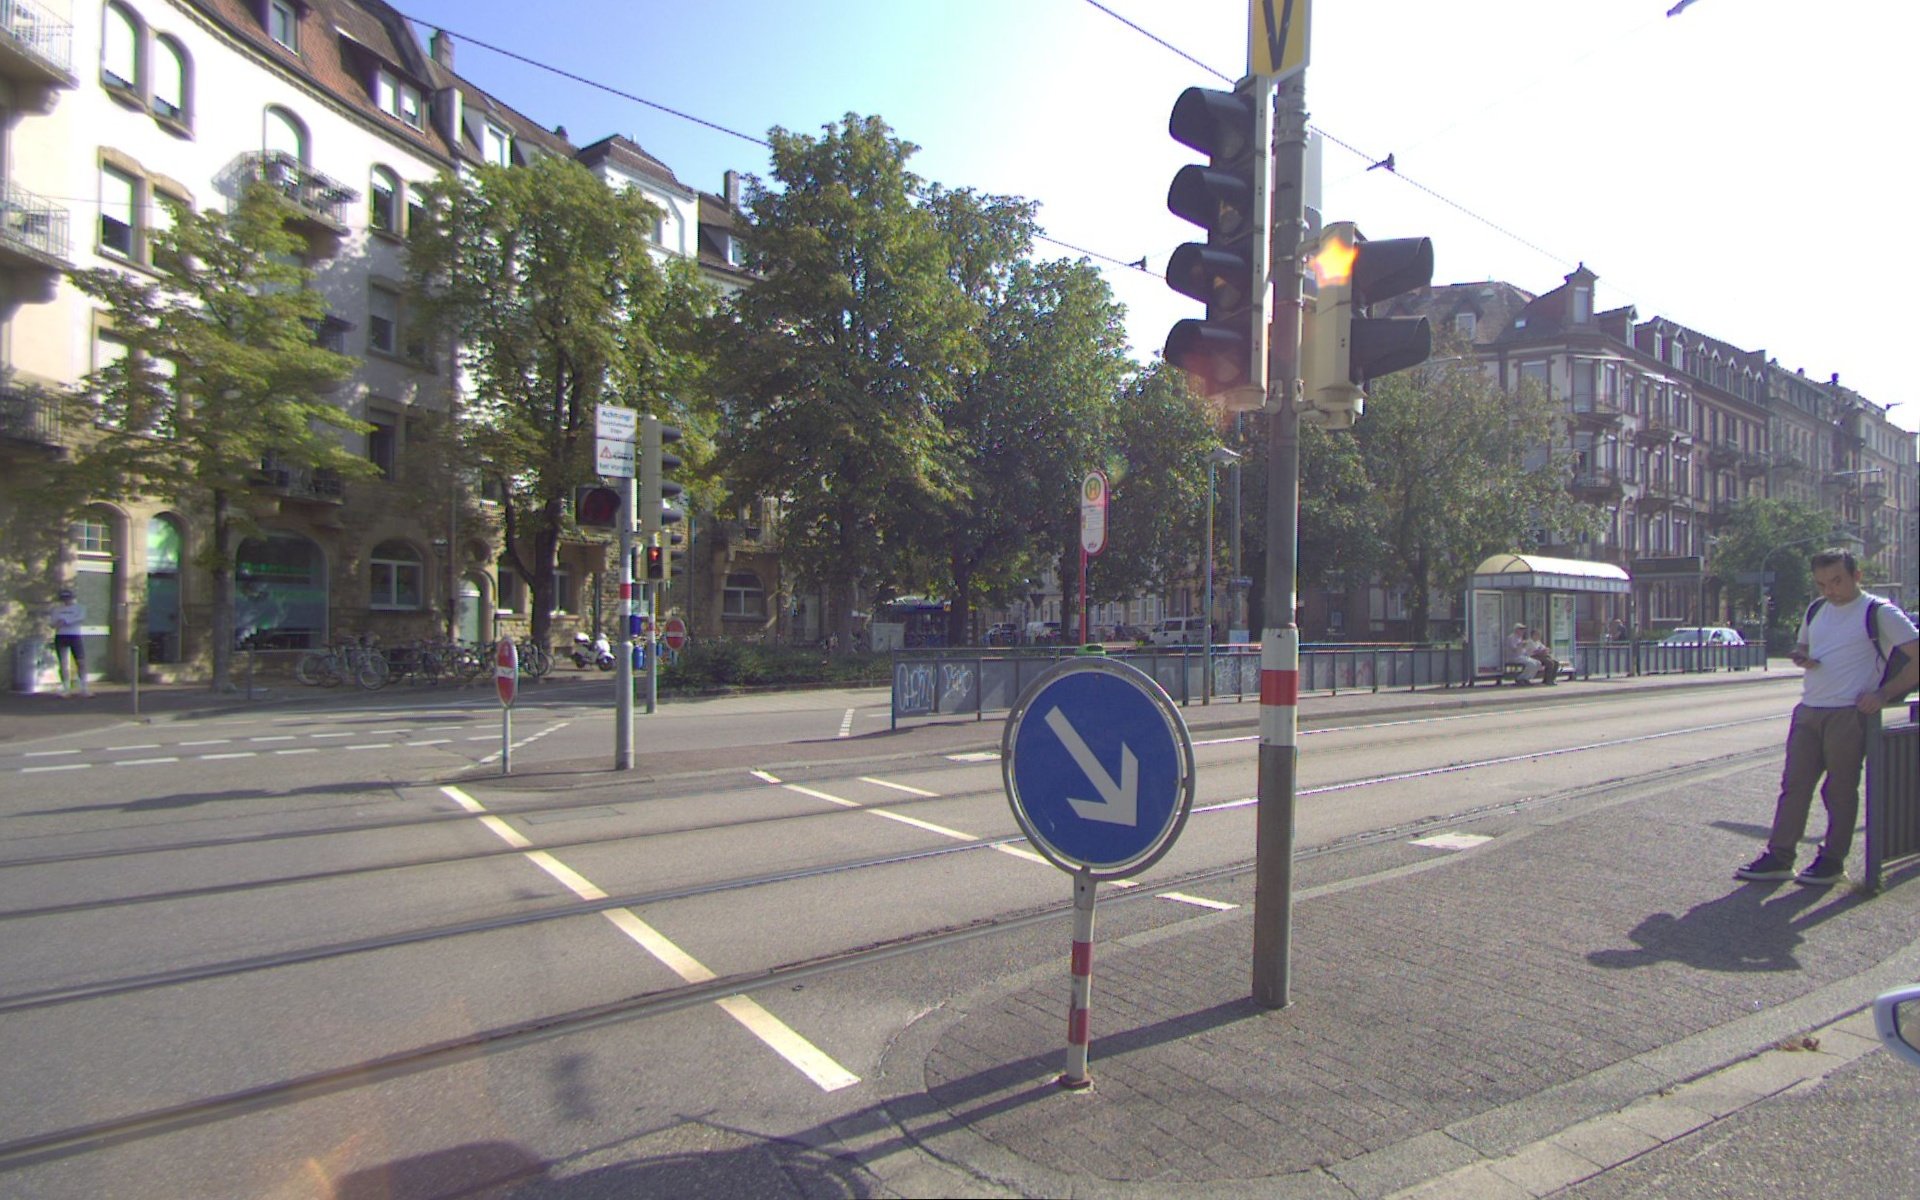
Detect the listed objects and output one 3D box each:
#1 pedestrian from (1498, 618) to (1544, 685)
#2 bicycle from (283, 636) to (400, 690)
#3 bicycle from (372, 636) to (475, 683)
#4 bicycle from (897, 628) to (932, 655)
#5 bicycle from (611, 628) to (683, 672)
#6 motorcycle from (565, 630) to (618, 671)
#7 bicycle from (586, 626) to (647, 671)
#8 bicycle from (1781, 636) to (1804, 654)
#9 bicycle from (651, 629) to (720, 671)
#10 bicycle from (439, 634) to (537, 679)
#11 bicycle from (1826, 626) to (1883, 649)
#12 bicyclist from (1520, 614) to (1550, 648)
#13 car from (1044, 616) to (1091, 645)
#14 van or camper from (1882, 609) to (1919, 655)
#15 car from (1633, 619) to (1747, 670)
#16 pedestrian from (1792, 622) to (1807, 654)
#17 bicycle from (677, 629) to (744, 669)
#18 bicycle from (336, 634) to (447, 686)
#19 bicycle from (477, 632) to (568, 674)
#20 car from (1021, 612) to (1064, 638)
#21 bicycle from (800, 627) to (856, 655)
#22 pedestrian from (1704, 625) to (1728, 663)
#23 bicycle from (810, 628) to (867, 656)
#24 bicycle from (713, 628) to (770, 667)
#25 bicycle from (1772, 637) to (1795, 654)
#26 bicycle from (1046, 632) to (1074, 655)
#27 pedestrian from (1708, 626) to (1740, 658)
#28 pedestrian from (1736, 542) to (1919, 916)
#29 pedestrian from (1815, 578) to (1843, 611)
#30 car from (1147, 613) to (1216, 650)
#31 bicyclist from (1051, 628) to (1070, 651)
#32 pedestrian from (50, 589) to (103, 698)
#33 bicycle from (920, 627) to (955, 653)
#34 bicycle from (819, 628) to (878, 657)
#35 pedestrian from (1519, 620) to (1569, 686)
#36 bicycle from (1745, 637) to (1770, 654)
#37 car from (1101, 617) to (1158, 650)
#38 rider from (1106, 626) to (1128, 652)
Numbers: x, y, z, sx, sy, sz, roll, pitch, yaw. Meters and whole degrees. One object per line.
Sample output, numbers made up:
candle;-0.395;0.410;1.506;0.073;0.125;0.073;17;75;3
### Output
pedestrian;12.611;1.142;22.572;0.711;1.475;0.672;1;-1;-36
bicycle;-13.588;1.363;22.073;2.294;1.093;0.697;1;-1;11
bicycle;-13.232;1.456;24.798;2.294;1.093;0.697;0;-1;11
bicycle;-1.983;1.766;43.397;0.648;1.118;2.077;1;-1;-28
bicycle;-10.322;1.637;33.101;2.260;1.389;0.867;0;-1;25
motorcycle;-11.427;1.538;31.113;1.855;1.193;0.675;1;-1;39
bicycle;-10.926;1.519;31.898;2.271;1.389;0.863;-1;-2;43
bicycle;45.534;2.462;54.917;1.685;0.940;0.523;1;-1;-34
bicycle;-9.411;1.708;34.428;2.260;1.389;0.867;0;-1;25
bicycle;-12.210;1.453;26.024;2.294;1.093;0.697;1;-1;11
bicycle;60.998;2.577;68.533;0.991;1.474;2.847;1;-1;-43
bicyclist;24.801;1.338;43.353;1.060;1.460;0.657;0;-1;26
car;7.918;2.265;74.477;2.045;2.043;4.580;1;-1;-14
van or camper;58.278;1.959;60.733;6.019;2.679;2.041;2;-2;-31
car;25.662;1.526;35.268;4.438;1.673;1.980;1;-2;-36
pedestrian;46.065;2.078;55.123;0.629;1.700;0.630;-1;-1;41
bicycle;-8.865;1.712;35.639;2.260;1.389;0.867;0;-1;25
bicycle;-13.133;1.372;23.205;2.294;1.093;0.697;1;-1;11
bicycle;-11.981;1.442;27.517;2.294;1.093;0.697;0;-1;11
car;6.608;2.011;80.945;2.045;2.043;4.580;1;-1;-14
bicycle;-5.423;1.695;41.423;2.314;1.118;0.649;2;-2;-40
pedestrian;37.403;2.158;49.681;1.084;1.830;0.722;1;-1;-39
bicycle;-4.922;1.697;40.849;2.314;1.118;0.649;2;-2;-40
bicycle;-8.036;1.725;36.908;2.270;1.389;0.863;-1;-2;41
bicycle;44.188;2.451;53.913;1.685;0.871;0.523;1;-1;-34
bicycle;6.805;2.973;68.474;0.981;1.474;2.876;1;-1;-14
pedestrian;38.244;2.101;50.278;0.927;1.591;0.842;0;-1;-3
pedestrian;4.686;0.607;5.303;0.730;1.794;0.724;-2;2;-34
pedestrian;48.444;-0.288;56.021;1.173;1.789;0.899;1;-1;-34
car;12.649;1.776;57.582;2.045;2.043;4.580;1;-1;-14
bicyclist;6.826;2.669;68.438;0.981;1.531;1.111;1;0;-14
pedestrian;-15.779;0.775;17.958;0.668;1.892;0.727;1;-1;-41
bicycle;-0.989;1.734;43.958;0.648;1.118;2.077;1;-1;-28
bicycle;-4.442;1.693;40.267;2.314;1.118;0.765;2;-2;-40
pedestrian;13.479;1.209;23.196;0.711;1.475;0.787;1;-1;-36
bicycle;41.661;2.359;52.488;1.809;0.871;0.523;1;-1;-35
car;10.914;2.126;64.995;2.045;2.043;4.580;1;-1;-14
rider;9.454;2.326;60.502;0.981;1.531;1.111;1;0;-14
